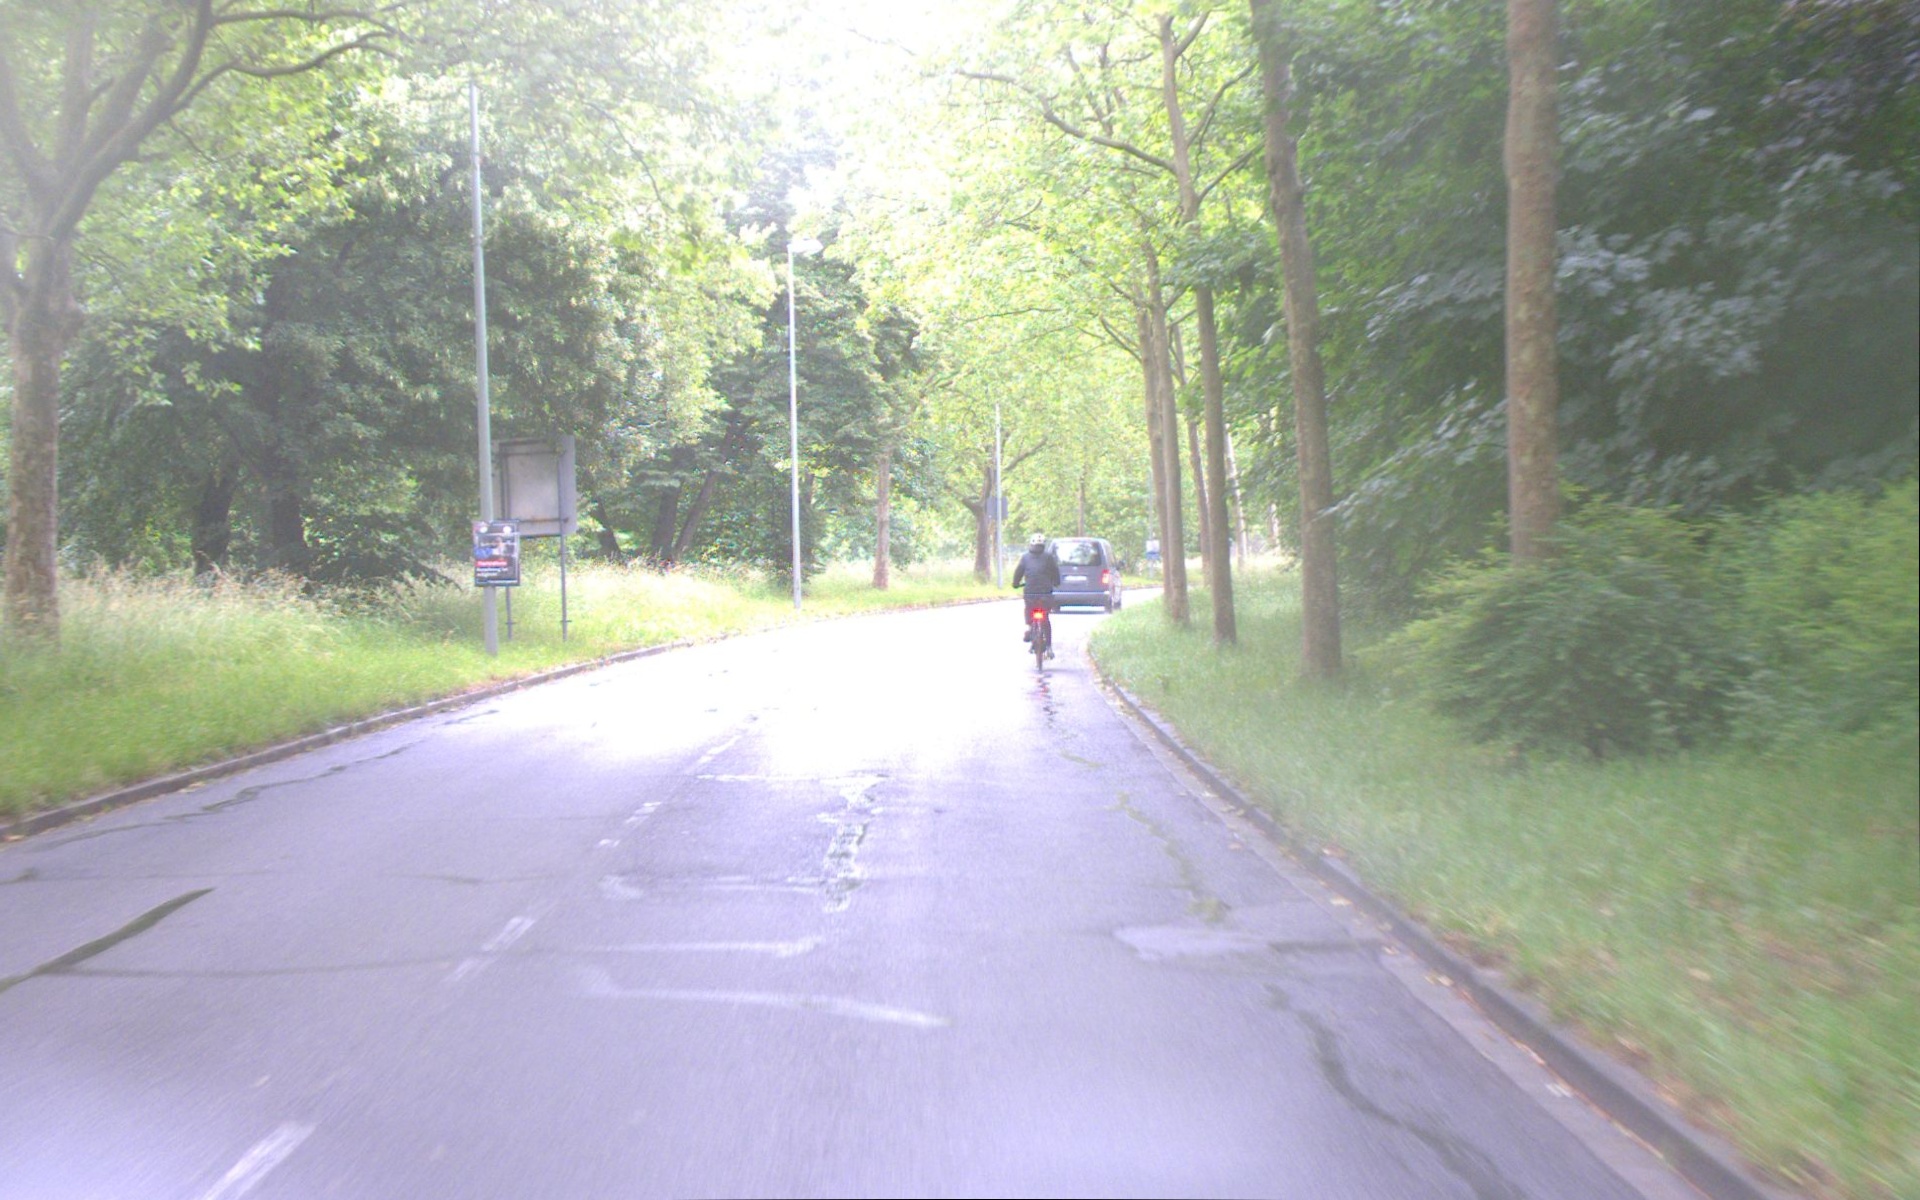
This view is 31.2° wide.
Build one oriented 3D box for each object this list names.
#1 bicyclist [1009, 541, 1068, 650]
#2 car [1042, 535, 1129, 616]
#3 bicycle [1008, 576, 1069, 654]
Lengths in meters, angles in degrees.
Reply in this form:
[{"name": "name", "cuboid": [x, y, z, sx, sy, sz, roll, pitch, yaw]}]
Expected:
[{"name": "bicyclist", "cuboid": [1.032, -0.065, 44.890, 0.730, 1.406, 0.973, 0, 1, 3]}, {"name": "car", "cuboid": [3.094, -0.616, 84.265, 1.985, 1.919, 4.000, -1, 1, 4]}, {"name": "bicycle", "cuboid": [1.035, 0.185, 45.072, 0.730, 0.970, 2.173, 0, 1, 3]}]
